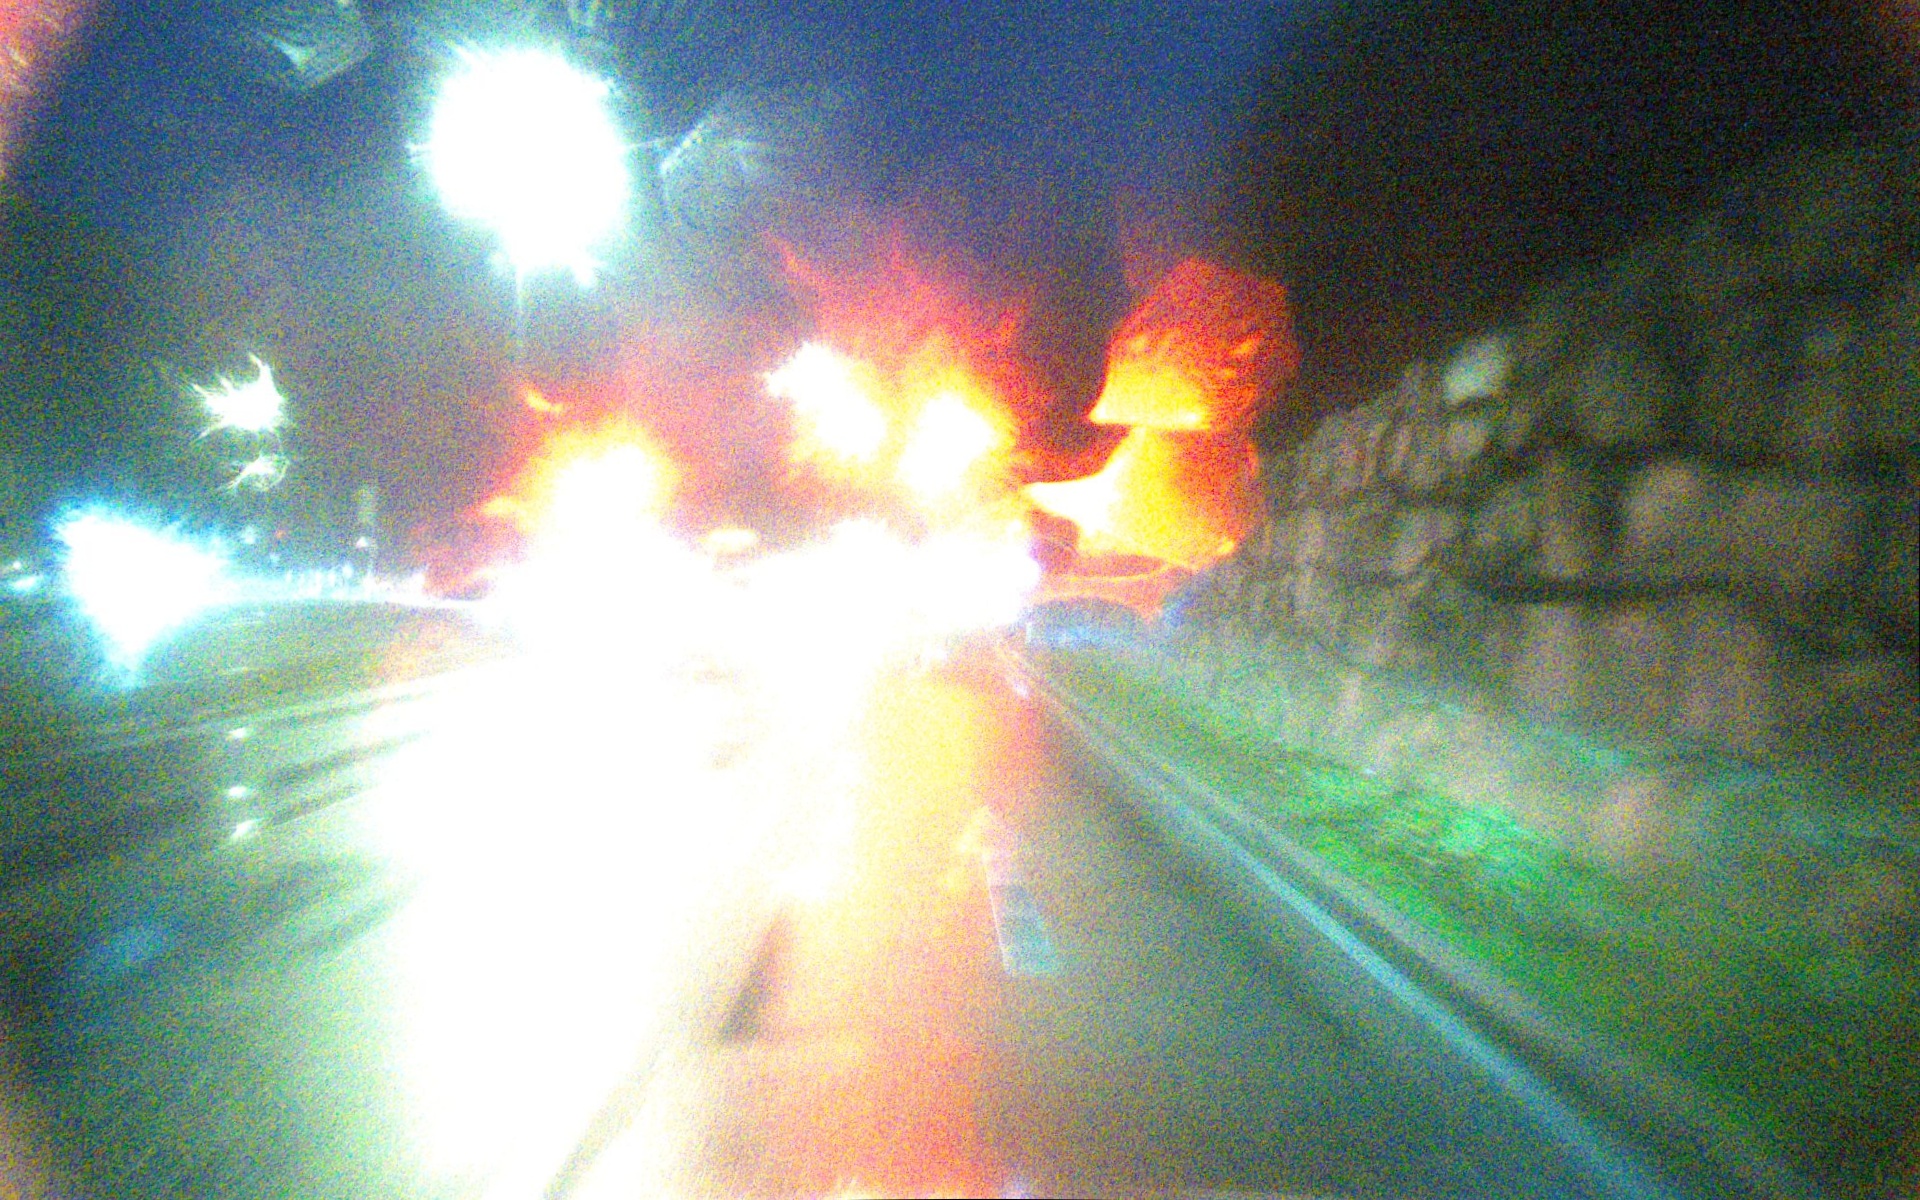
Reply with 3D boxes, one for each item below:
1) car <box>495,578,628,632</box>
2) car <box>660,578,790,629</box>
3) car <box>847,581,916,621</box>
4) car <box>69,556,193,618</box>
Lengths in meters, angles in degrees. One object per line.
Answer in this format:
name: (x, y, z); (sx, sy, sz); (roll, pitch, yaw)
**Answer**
car: (-12.864, 0.158, 53.596); (3.910, 1.691, 1.998); (1, 0, -6)
car: (-7.999, 0.130, 56.371); (3.951, 1.691, 1.977); (1, 0, -34)
car: (-2.982, 0.028, 63.632); (1.920, 1.453, 3.936); (1, 0, 8)
car: (-28.521, -0.453, 56.883); (3.913, 2.049, 1.996); (1, 0, 30)
